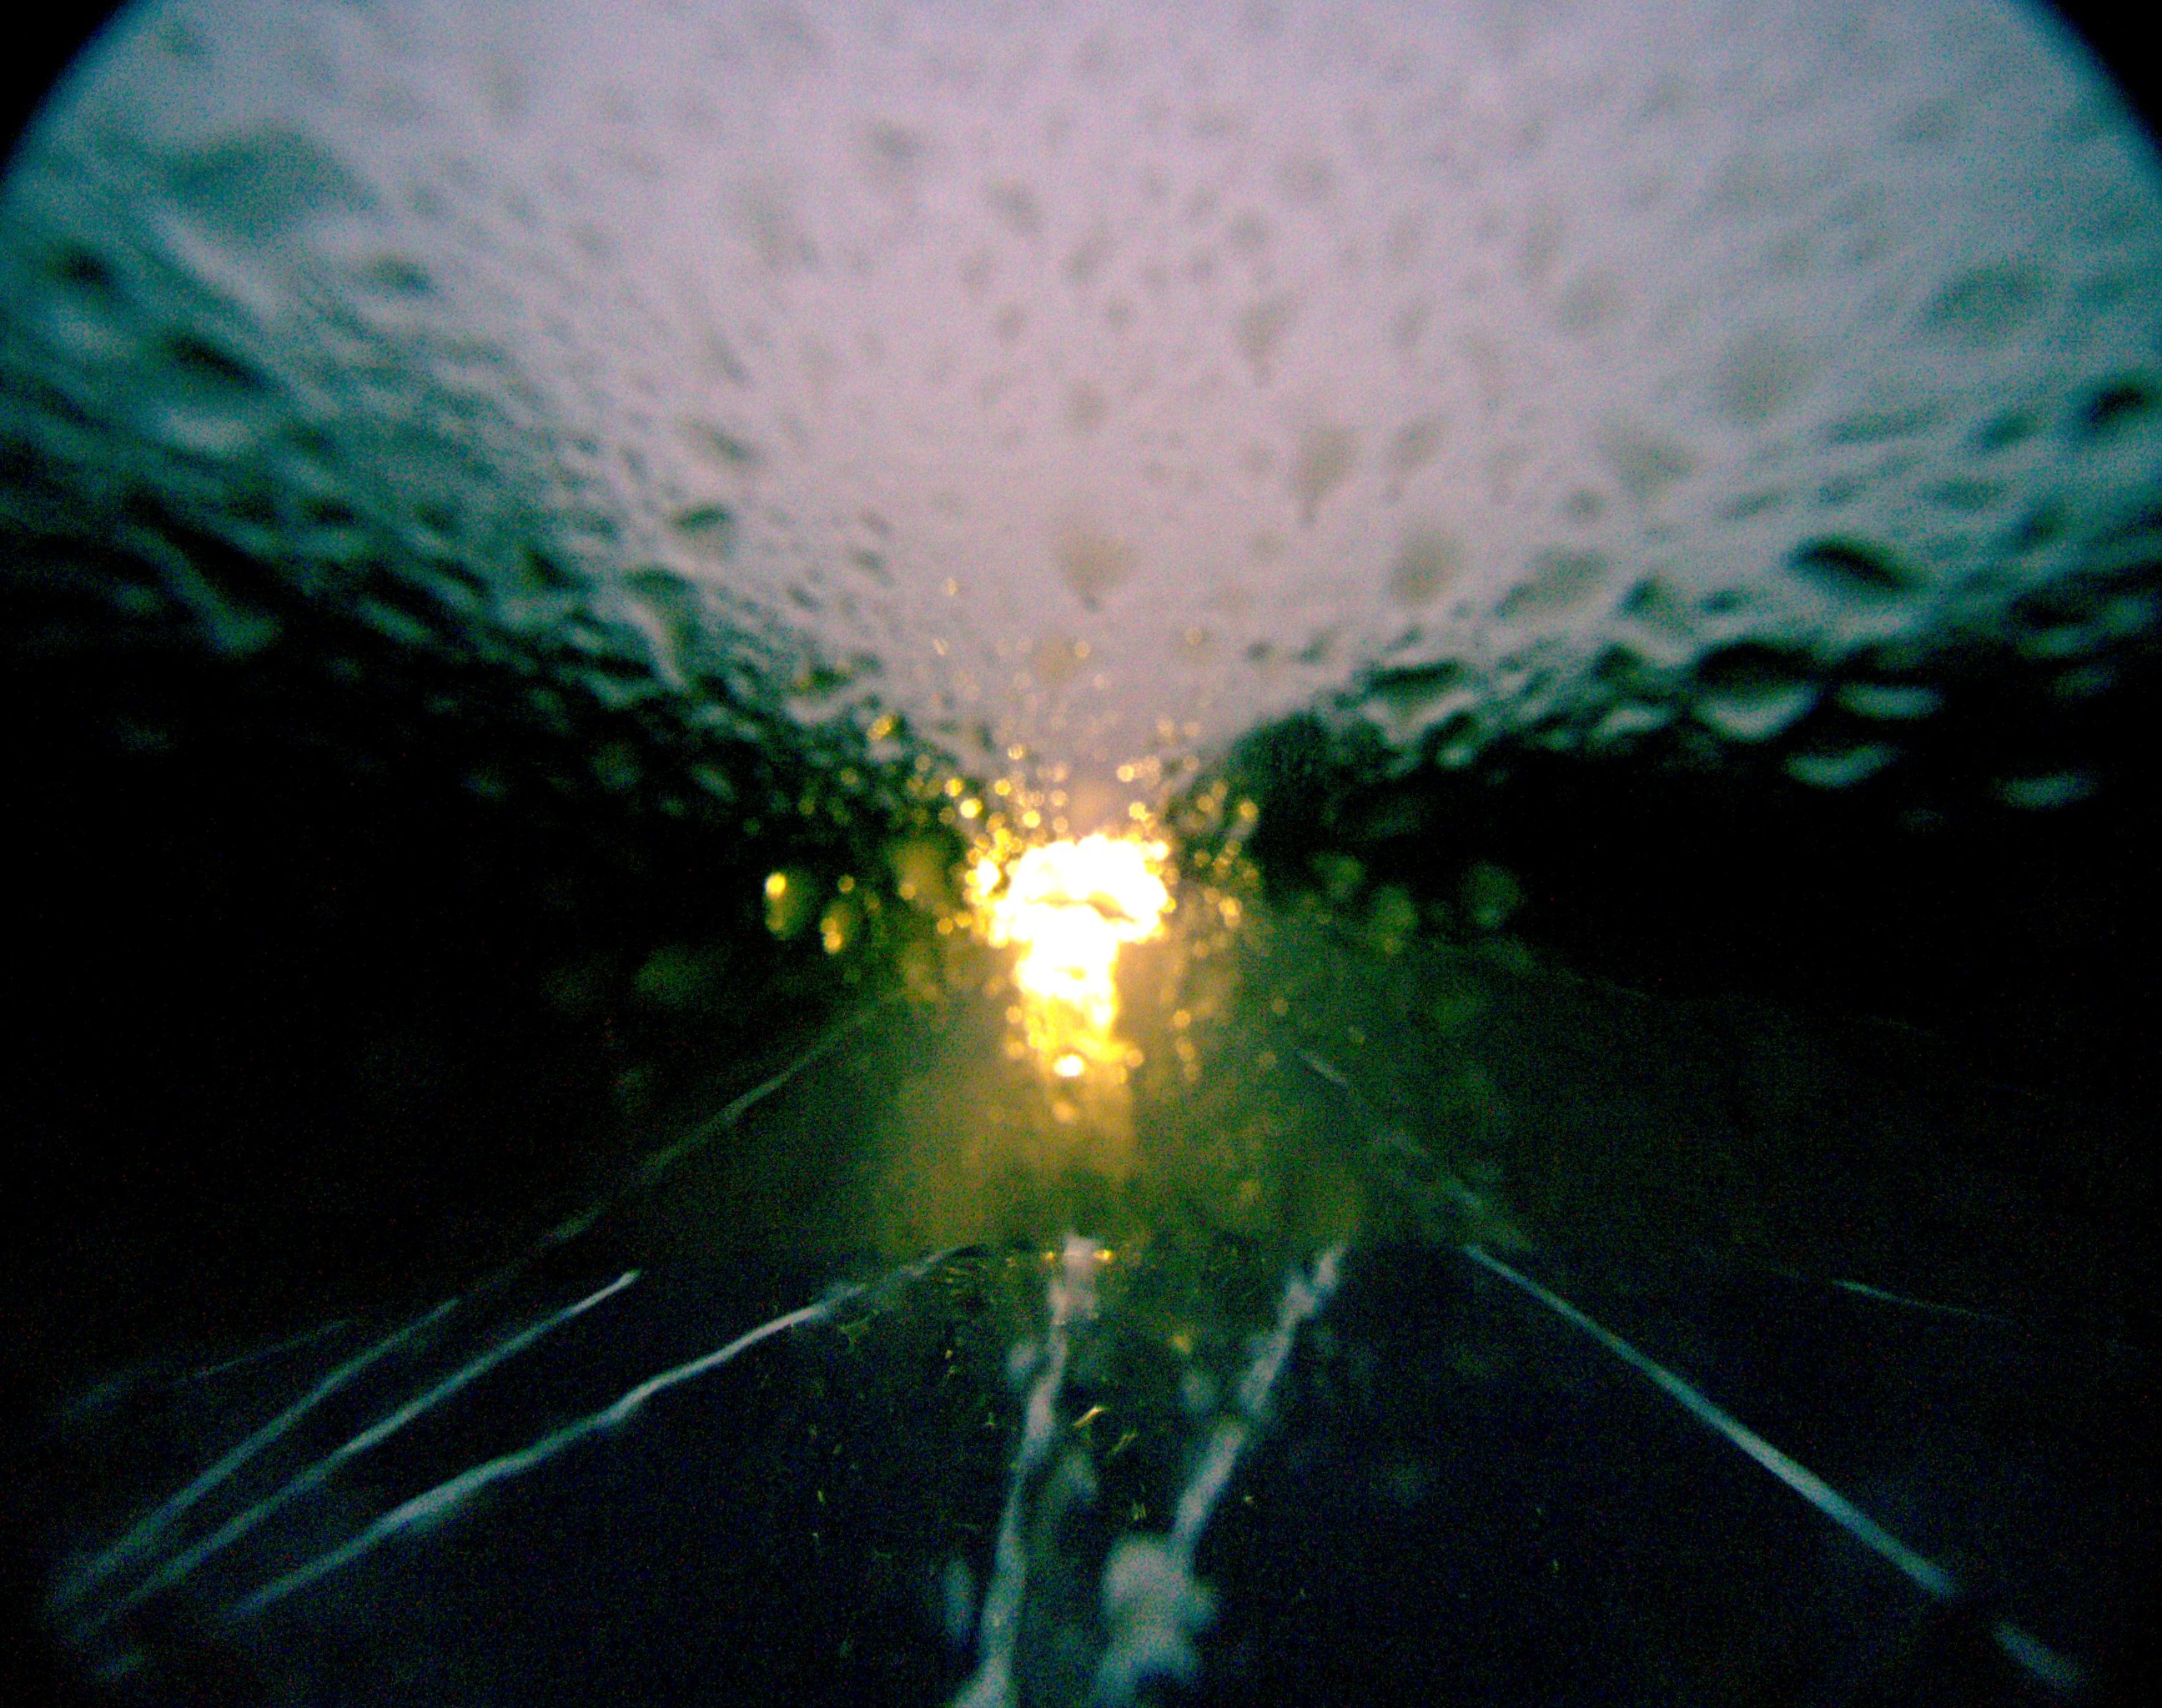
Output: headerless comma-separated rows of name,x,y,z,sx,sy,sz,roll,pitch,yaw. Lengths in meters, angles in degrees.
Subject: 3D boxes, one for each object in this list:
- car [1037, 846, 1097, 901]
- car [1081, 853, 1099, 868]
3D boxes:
car,-0.400,0.591,25.817,1.572,1.701,4.001,-1,1,5
car,1.085,0.742,91.453,1.998,1.752,4.371,-1,1,1
